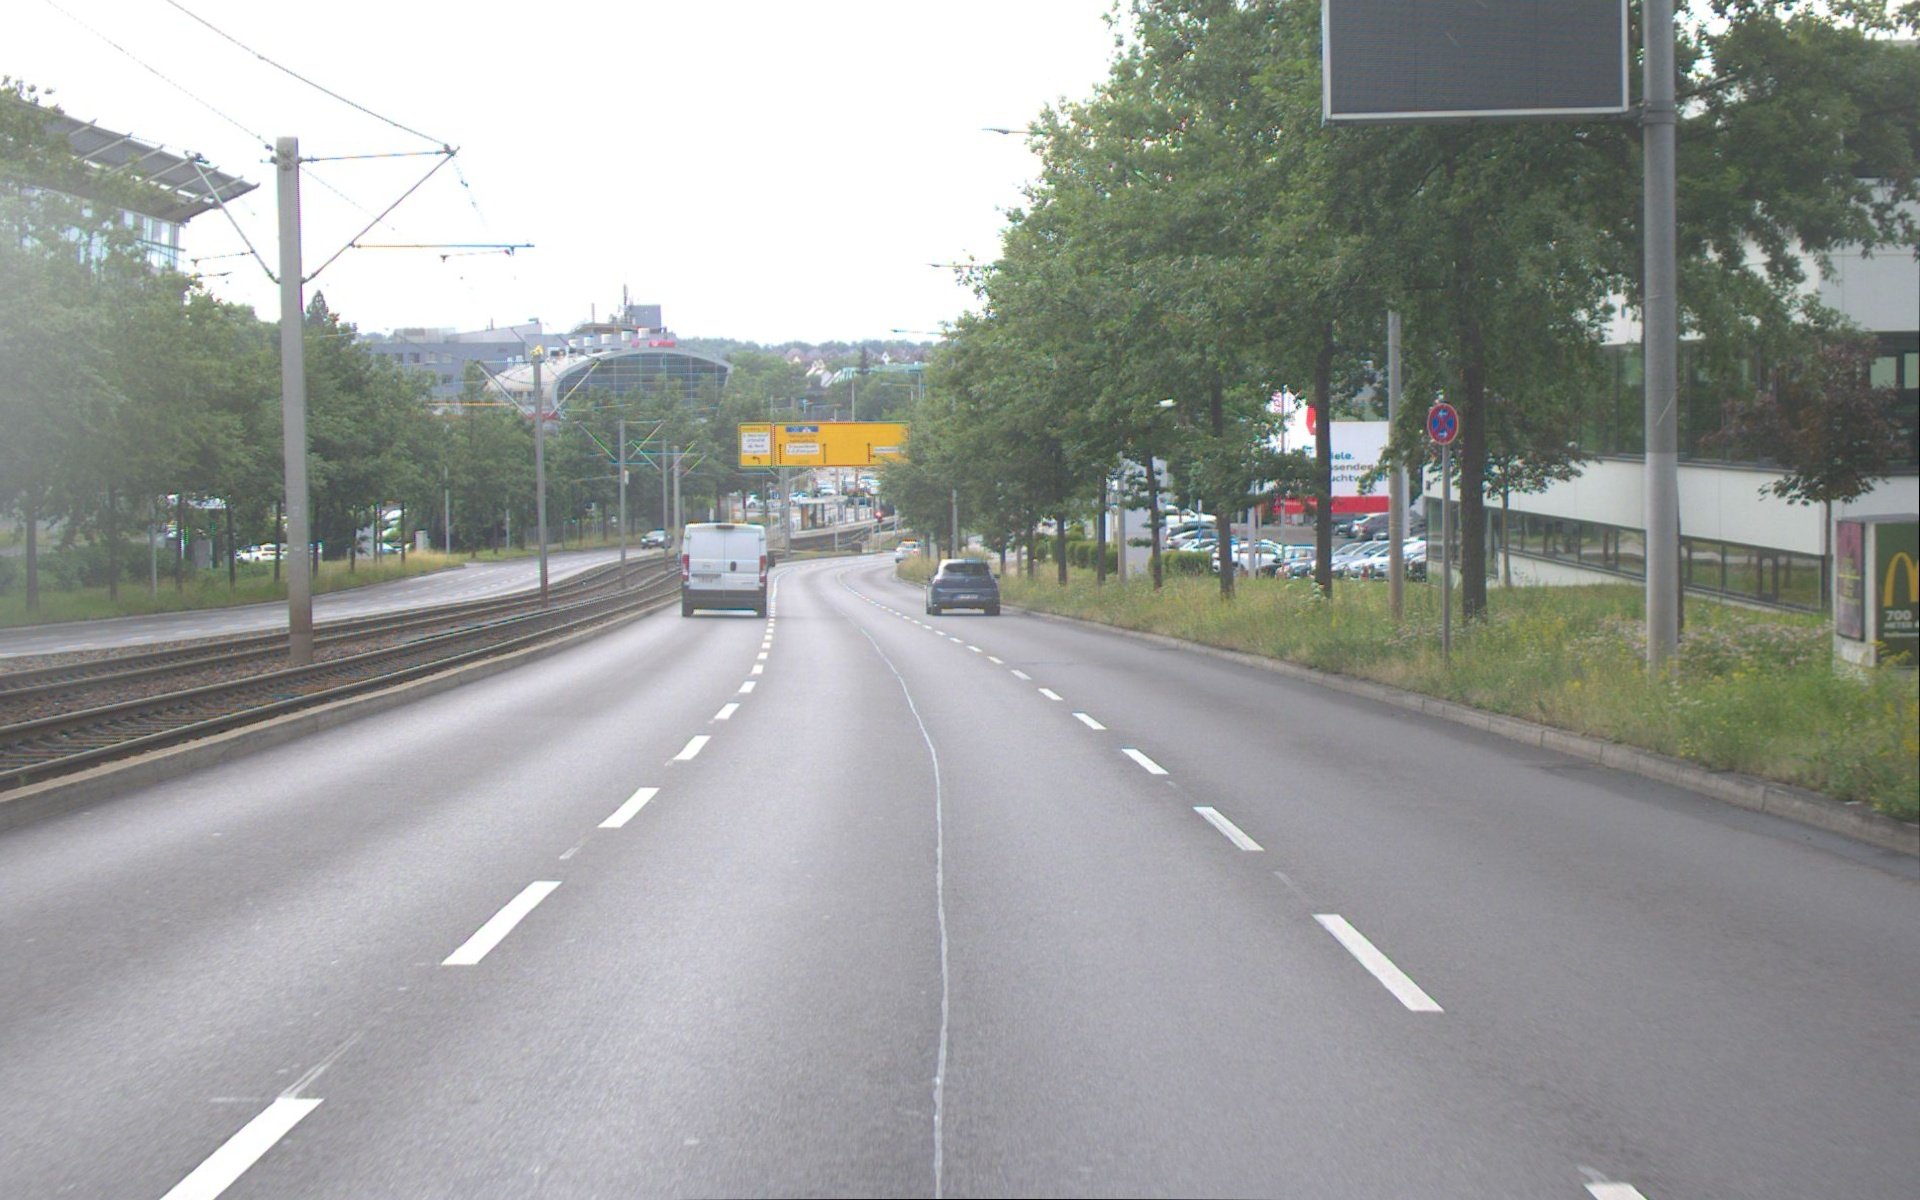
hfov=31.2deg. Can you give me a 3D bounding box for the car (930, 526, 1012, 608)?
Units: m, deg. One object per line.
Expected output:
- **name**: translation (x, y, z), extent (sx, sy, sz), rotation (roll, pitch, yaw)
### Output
- **car**: translation (0.260, -0.857, 88.230), extent (1.993, 2.007, 3.934), rotation (1, 1, -1)

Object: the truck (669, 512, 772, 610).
- **truck**: translation (-5.773, -0.953, 83.407), extent (2.360, 2.254, 5.306), rotation (1, 1, -3)

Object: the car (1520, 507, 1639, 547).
- **car**: translation (22.611, -2.668, 125.566), extent (3.987, 1.349, 2.000), rotation (1, 1, 2)

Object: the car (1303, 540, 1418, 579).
- **car**: translation (14.517, -1.468, 124.714), extent (3.987, 1.349, 2.000), rotation (1, 1, 2)

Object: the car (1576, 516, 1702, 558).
- **car**: translation (23.441, -2.161, 118.724), extent (3.987, 1.349, 2.000), rotation (1, 1, 2)

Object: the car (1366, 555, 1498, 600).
- **car**: translation (15.075, -0.712, 109.957), extent (3.987, 1.349, 2.000), rotation (1, 1, 2)

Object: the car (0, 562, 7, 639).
- **car**: translation (-18.819, 0.051, 62.484), extent (1.880, 1.442, 4.138), rotation (-1, 1, -1)
